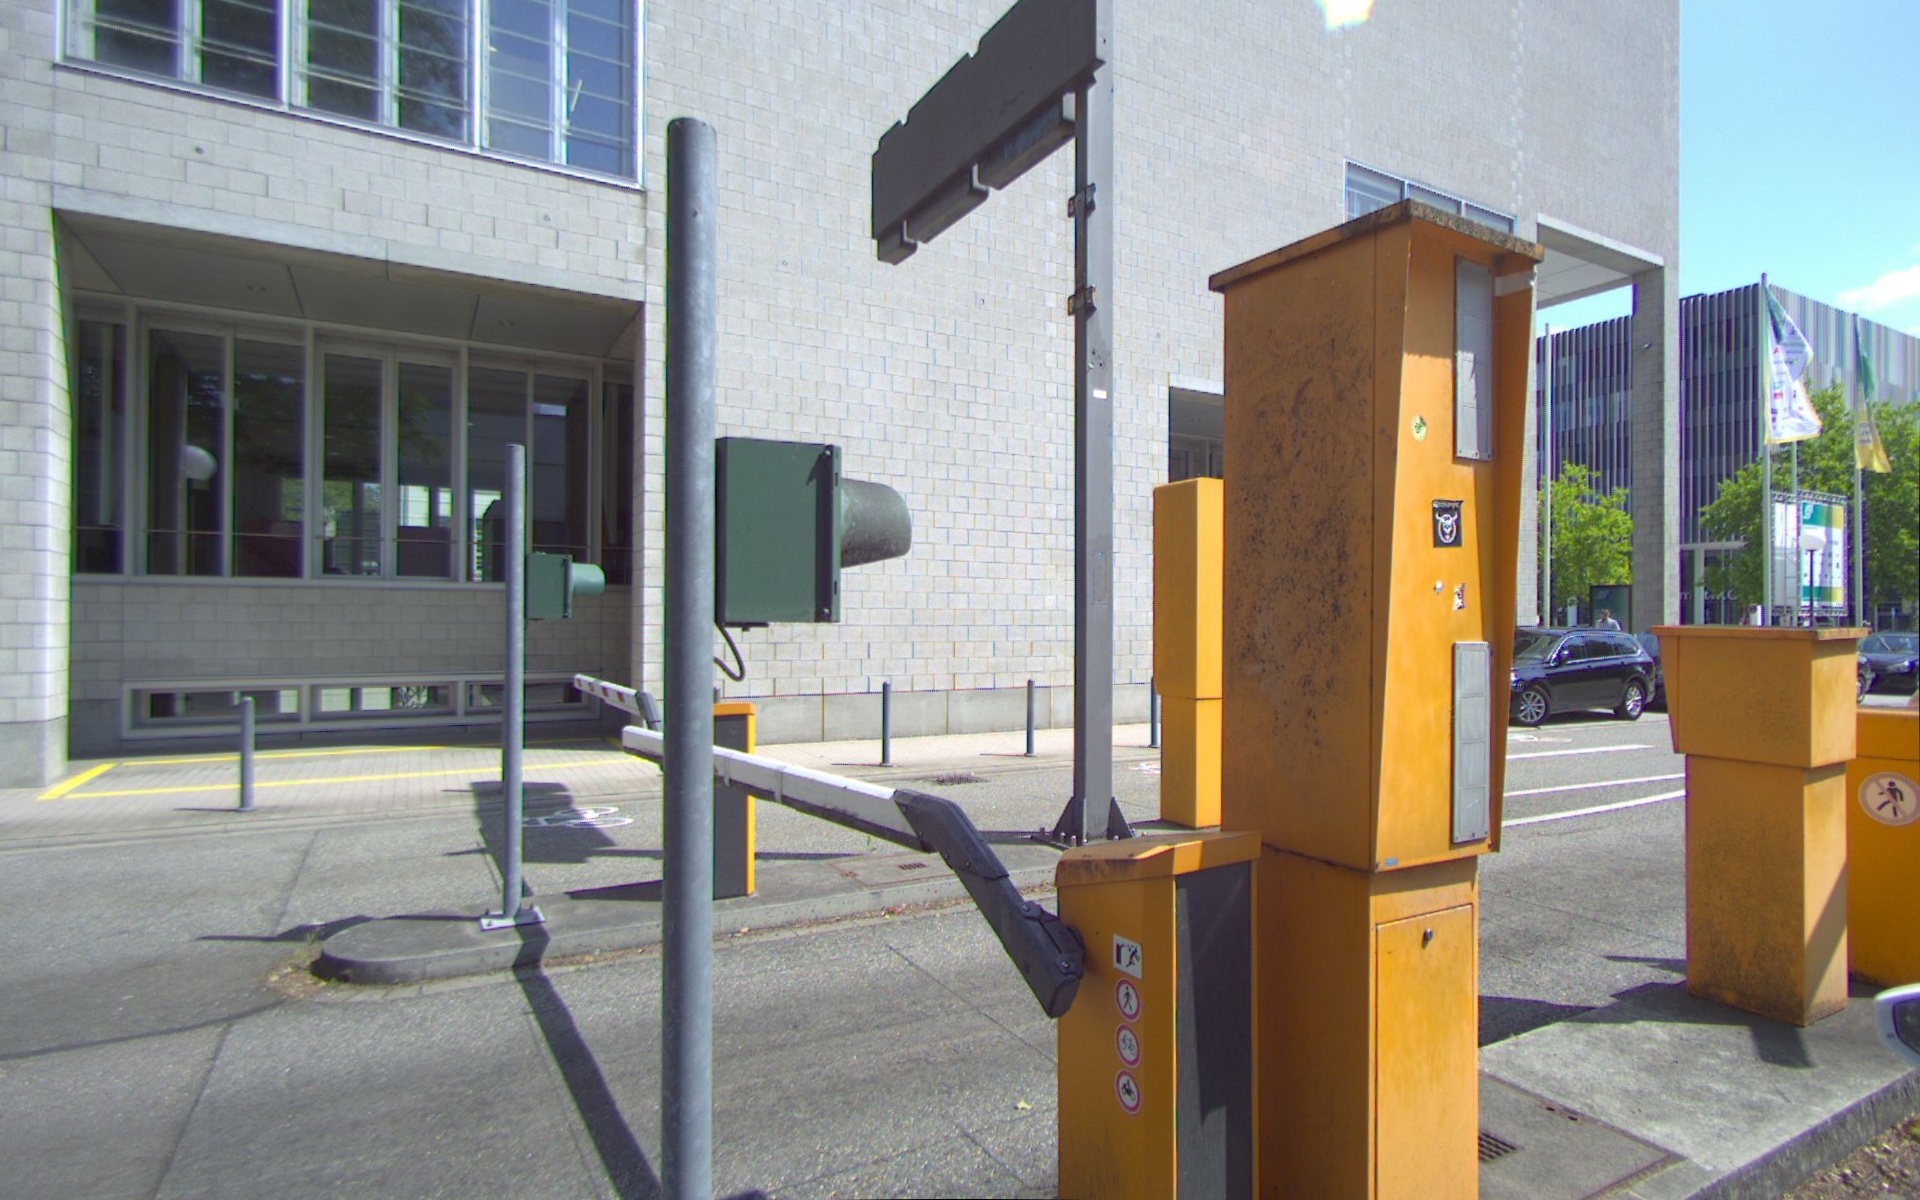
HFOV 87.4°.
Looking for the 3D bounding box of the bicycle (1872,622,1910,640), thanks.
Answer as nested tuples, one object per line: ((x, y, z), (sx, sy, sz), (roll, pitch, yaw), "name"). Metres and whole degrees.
((69.590, 2.317, 75.133), (1.178, 1.254, 2.949), (1, -1, 24), "bicycle")

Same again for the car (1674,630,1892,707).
((17.657, 1.403, 21.497), (4.954, 1.396, 1.852), (1, 1, -28), "car")

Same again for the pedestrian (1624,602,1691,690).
((16.718, 1.078, 24.091), (1.153, 2.040, 0.978), (1, -1, -34), "pedestrian")

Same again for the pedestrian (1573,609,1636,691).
((16.624, 1.272, 25.912), (1.153, 2.040, 0.978), (1, -1, -34), "pedestrian")

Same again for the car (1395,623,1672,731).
((9.472, 1.178, 16.508), (4.663, 1.487, 1.850), (1, 1, -30), "car")

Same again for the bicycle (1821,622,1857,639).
((66.815, 2.318, 76.378), (1.178, 1.254, 2.949), (1, -1, 24), "bicycle")

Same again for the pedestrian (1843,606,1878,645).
((44.838, 1.272, 49.997), (0.987, 1.901, 0.854), (0, -1, -7), "pedestrian")

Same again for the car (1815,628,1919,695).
((23.537, 1.498, 25.229), (4.144, 1.487, 1.740), (1, 1, -28), "car")

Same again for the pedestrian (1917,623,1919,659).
((43.281, 1.838, 44.734), (0.788, 1.619, 0.767), (1, -1, -28), "pedestrian")

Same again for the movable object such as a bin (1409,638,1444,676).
((11.876, 1.448, 25.585), (0.588, 0.942, 0.573), (1, 0, -29), "movable object such as a bin")

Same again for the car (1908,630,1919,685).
((28.184, 1.623, 27.857), (3.863, 1.487, 1.669), (1, 1, -29), "car")

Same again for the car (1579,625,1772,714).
((13.725, 1.266, 19.246), (3.663, 1.487, 1.631), (1, 1, -30), "car")

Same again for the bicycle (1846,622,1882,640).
((68.284, 2.324, 75.877), (1.178, 1.254, 2.949), (1, -1, 24), "bicycle")

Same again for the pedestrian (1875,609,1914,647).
((45.364, 1.345, 48.767), (1.075, 1.843, 0.863), (0, -1, -6), "pedestrian")

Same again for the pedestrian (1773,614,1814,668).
((29.468, 1.444, 35.504), (1.074, 1.875, 0.717), (1, 1, -26), "pedestrian")

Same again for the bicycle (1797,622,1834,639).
((65.558, 2.315, 77.014), (1.351, 1.254, 2.949), (1, -1, 24), "bicycle")
